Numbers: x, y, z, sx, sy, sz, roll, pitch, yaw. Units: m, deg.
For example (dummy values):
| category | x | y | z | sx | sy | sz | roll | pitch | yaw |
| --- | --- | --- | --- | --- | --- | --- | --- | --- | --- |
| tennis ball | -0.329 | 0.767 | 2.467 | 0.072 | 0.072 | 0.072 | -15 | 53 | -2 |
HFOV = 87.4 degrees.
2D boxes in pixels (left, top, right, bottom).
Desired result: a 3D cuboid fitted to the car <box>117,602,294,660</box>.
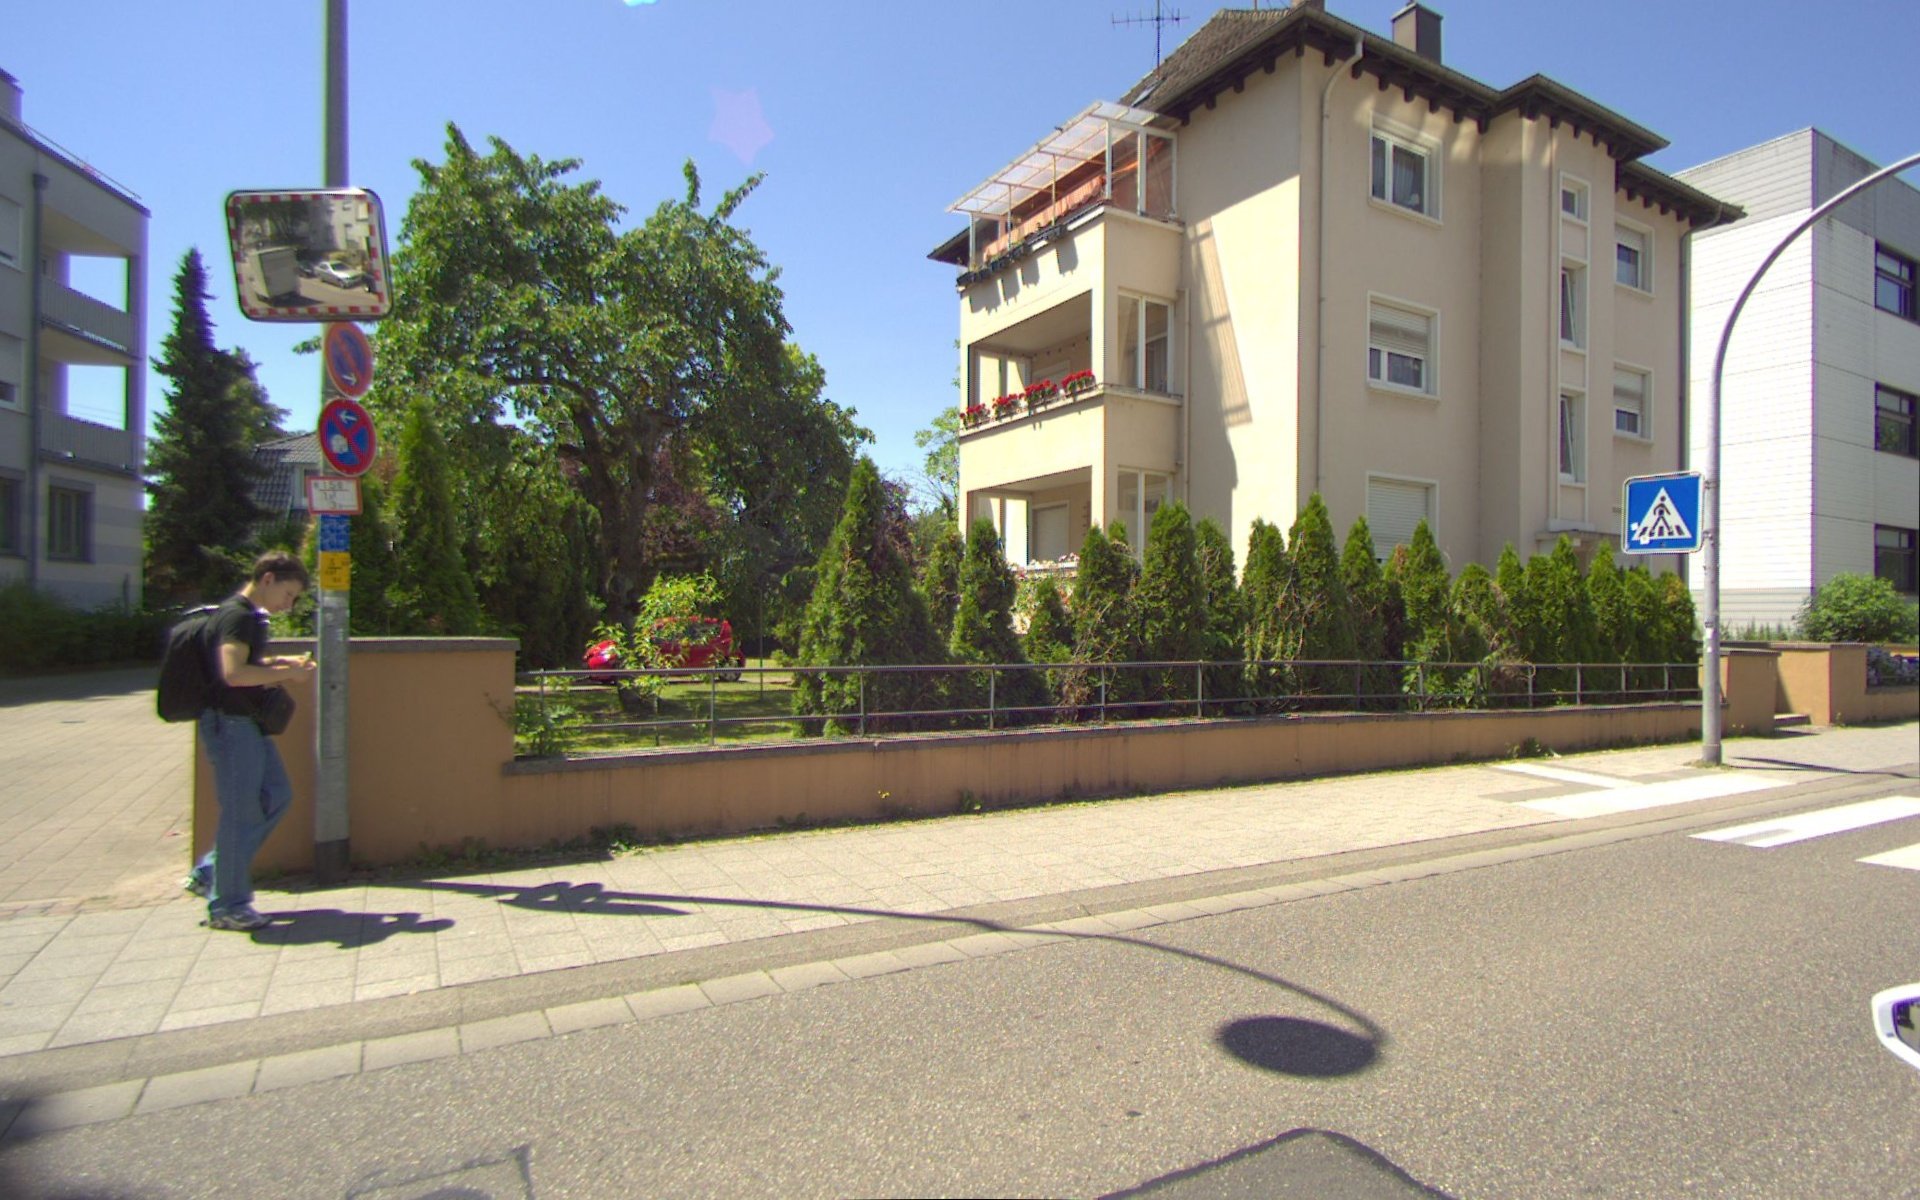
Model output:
| category | x | y | z | sx | sy | sz | roll | pitch | yaw |
| --- | --- | --- | --- | --- | --- | --- | --- | --- | --- |
| car | -20.648 | 0.861 | 27.615 | 3.550 | 1.501 | 1.496 | 1 | -1 | -12 |

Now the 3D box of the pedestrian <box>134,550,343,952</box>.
| category | x | y | z | sx | sy | sz | roll | pitch | yaw |
| --- | --- | --- | --- | --- | --- | --- | --- | --- | --- |
| pedestrian | -3.321 | 0.650 | 4.683 | 0.700 | 1.707 | 0.534 | 1 | -1 | -30 |

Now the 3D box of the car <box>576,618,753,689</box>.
| category | x | y | z | sx | sy | sz | roll | pitch | yaw |
| --- | --- | --- | --- | --- | --- | --- | --- | --- | --- |
| car | -6.508 | 1.152 | 22.220 | 3.386 | 1.439 | 1.698 | 2 | -1 | -38 |
